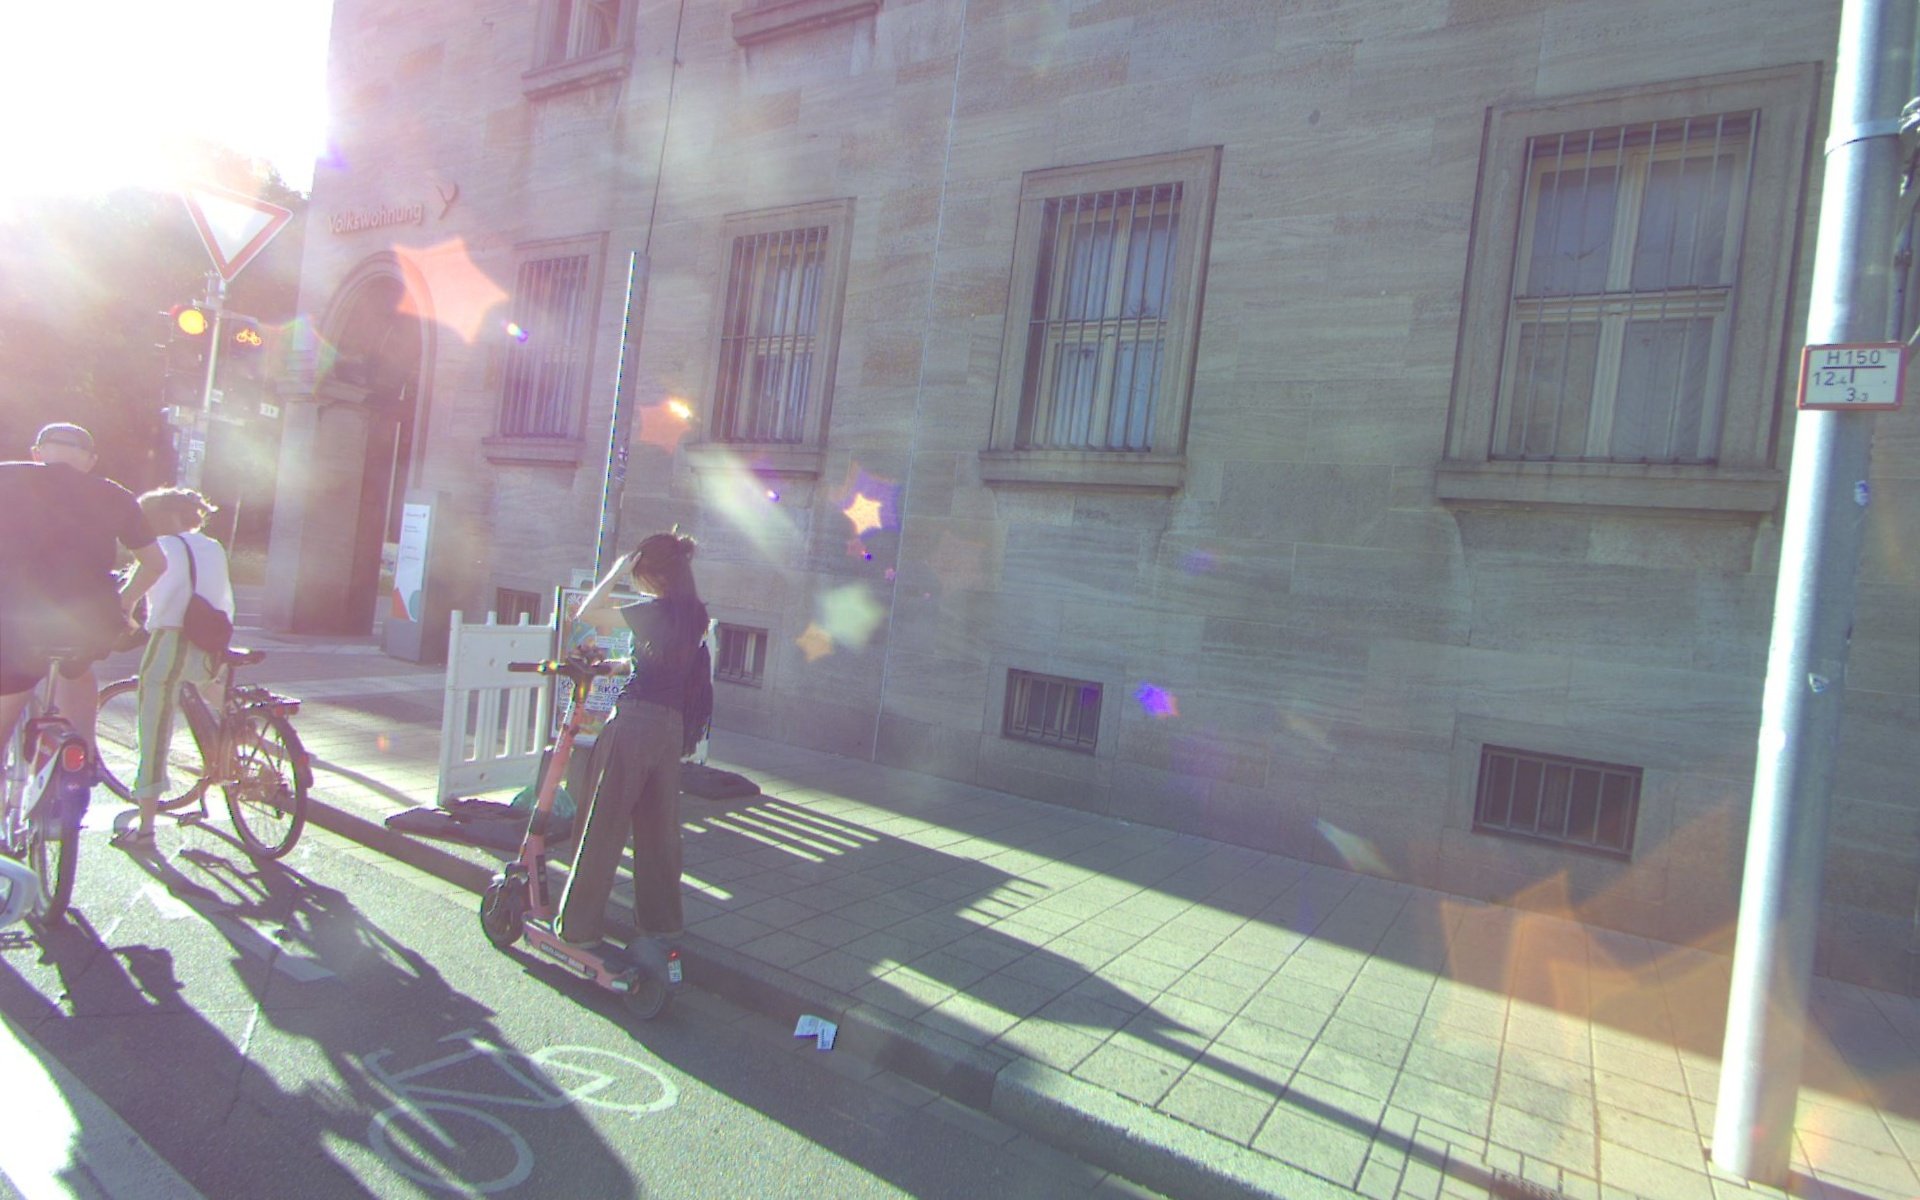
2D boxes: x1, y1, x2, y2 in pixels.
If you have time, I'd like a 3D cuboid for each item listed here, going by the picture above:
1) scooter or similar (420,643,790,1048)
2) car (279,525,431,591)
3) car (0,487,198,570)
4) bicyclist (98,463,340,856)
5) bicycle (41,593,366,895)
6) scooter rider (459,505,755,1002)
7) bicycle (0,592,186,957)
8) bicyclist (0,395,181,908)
[{"bbox_3d":[-1.401,0.853,3.912,1.305,1.199,0.535,7,0,31],"label":"scooter or similar"},{"bbox_3d":[-19.817,-1.337,33.103,1.623,1.630,3.854,7,-1,31],"label":"car"},{"bbox_3d":[-23.363,-1.894,27.195,1.623,1.630,3.999,7,-1,31],"label":"car"},{"bbox_3d":[-3.528,0.264,4.802,0.629,1.711,0.558,7,-1,30],"label":"bicyclist"},{"bbox_3d":[-3.674,0.619,4.840,1.721,1.090,0.535,7,-1,31],"label":"bicycle"},{"bbox_3d":[-1.346,0.543,3.904,0.547,1.691,0.730,7,0,31],"label":"scooter rider"},{"bbox_3d":[-3.730,0.572,3.923,1.700,1.090,0.516,7,-1,34],"label":"bicycle"},{"bbox_3d":[-3.541,0.191,3.852,0.541,1.820,0.559,7,-1,33],"label":"bicyclist"}]
